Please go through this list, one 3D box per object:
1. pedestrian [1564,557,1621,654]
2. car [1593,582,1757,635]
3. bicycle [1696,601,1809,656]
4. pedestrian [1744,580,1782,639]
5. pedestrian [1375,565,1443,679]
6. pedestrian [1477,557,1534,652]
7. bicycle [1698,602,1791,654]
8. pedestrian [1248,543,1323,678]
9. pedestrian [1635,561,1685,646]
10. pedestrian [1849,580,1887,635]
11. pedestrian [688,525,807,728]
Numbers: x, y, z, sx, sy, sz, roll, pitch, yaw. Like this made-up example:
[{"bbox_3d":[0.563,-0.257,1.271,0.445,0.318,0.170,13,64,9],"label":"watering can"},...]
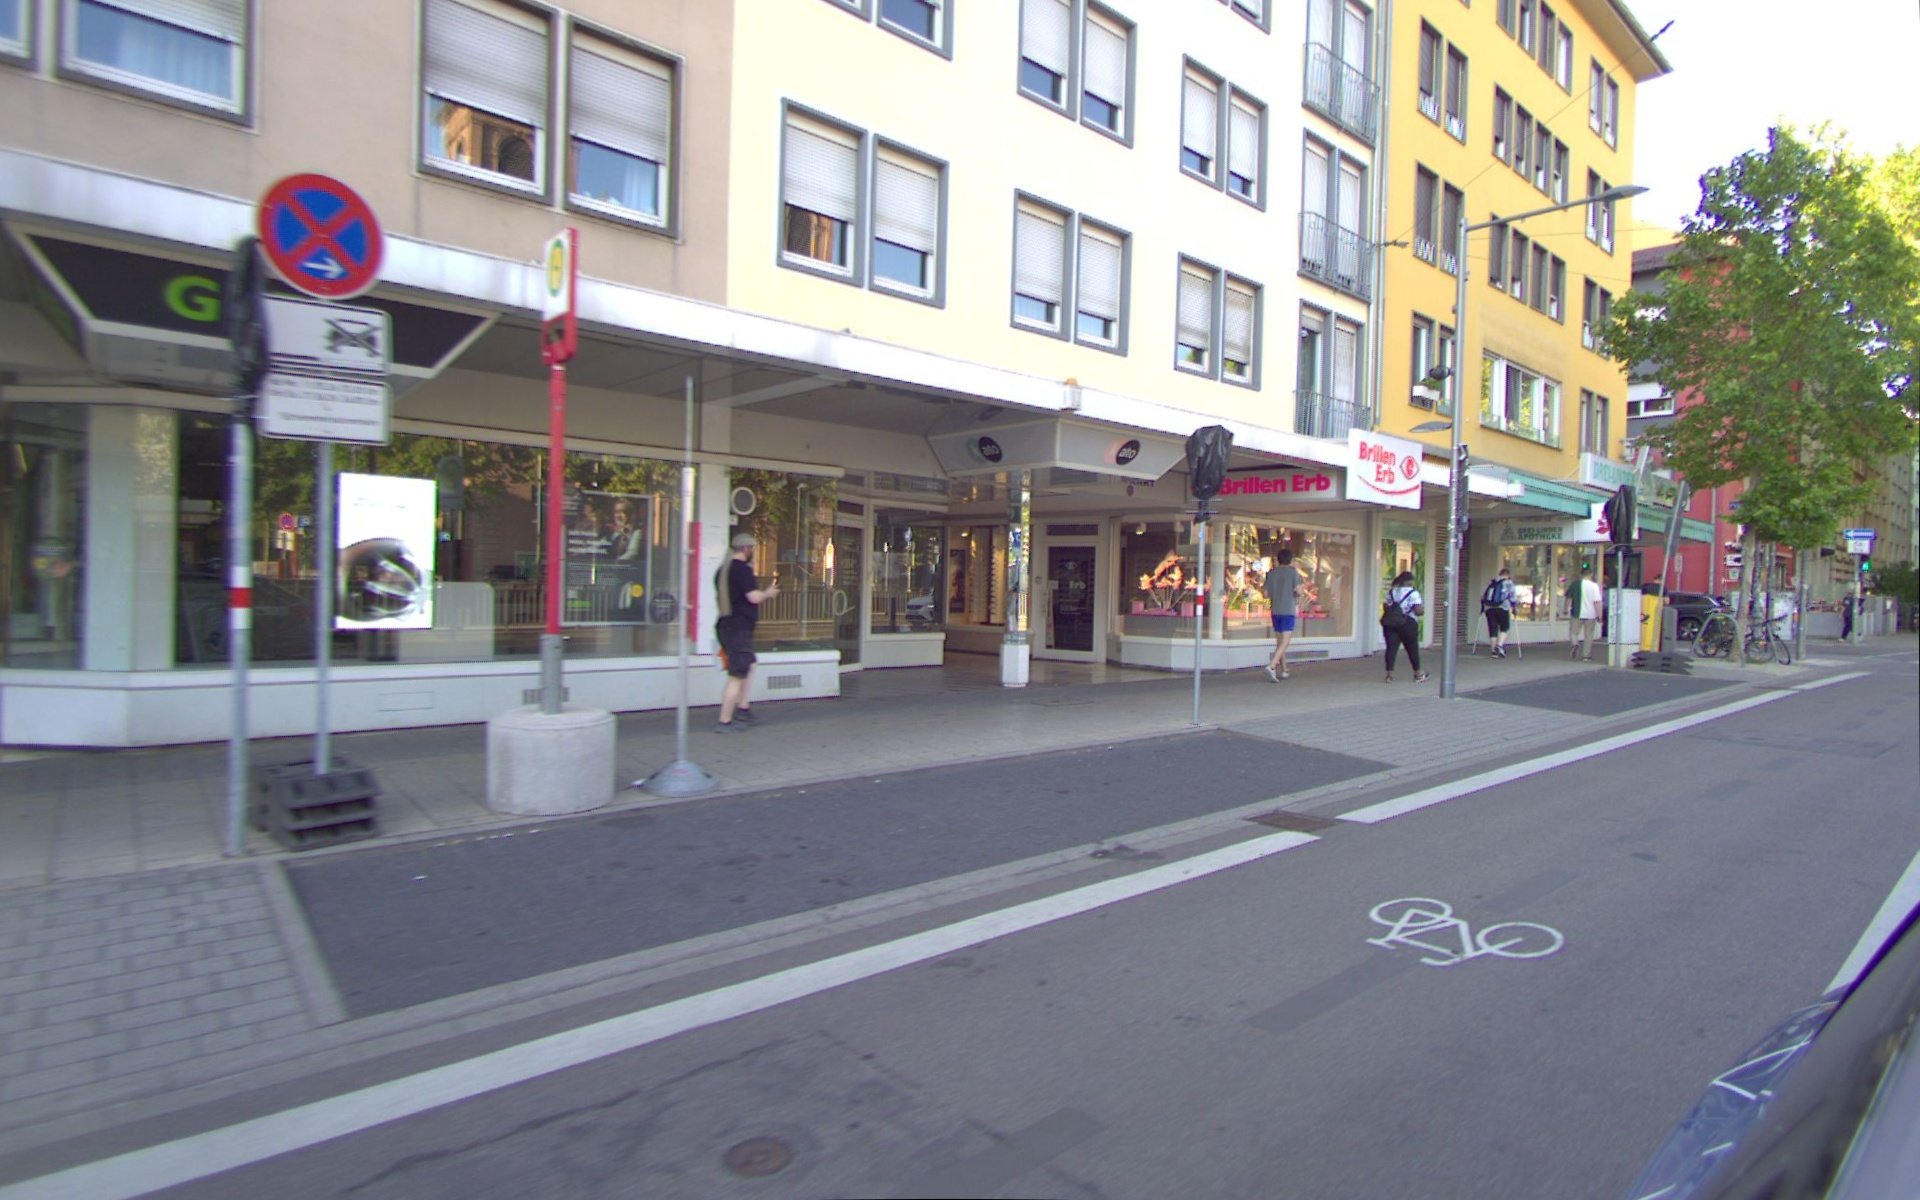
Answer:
[{"bbox_3d":[12.023,0.096,19.244,0.753,1.801,0.725,0,1,-41],"label":"pedestrian"},{"bbox_3d":[24.694,0.254,35.063,1.741,1.708,4.349,0,1,-40],"label":"car"},{"bbox_3d":[16.857,0.578,21.557,0.532,1.020,1.801,0,3,-43],"label":"bicycle"},{"bbox_3d":[24.990,0.284,31.500,0.879,1.802,0.745,0,0,-41],"label":"pedestrian"},{"bbox_3d":[6.538,0.296,14.738,0.836,1.598,0.611,0,1,-42],"label":"pedestrian"},{"bbox_3d":[10.348,0.076,19.194,0.753,1.745,0.725,0,1,-41],"label":"pedestrian"},{"bbox_3d":[16.436,0.566,21.222,0.446,1.021,1.484,0,1,-43],"label":"bicycle"},{"bbox_3d":[4.659,0.129,14.471,0.753,1.863,0.725,0,1,-41],"label":"pedestrian"},{"bbox_3d":[15.532,0.069,22.452,0.753,1.829,0.725,0,1,-41],"label":"pedestrian"},{"bbox_3d":[29.492,0.232,32.859,0.801,1.731,0.728,0,3,-40],"label":"pedestrian"},{"bbox_3d":[-1.844,0.209,8.761,0.753,1.653,0.725,0,1,-41],"label":"pedestrian"}]
